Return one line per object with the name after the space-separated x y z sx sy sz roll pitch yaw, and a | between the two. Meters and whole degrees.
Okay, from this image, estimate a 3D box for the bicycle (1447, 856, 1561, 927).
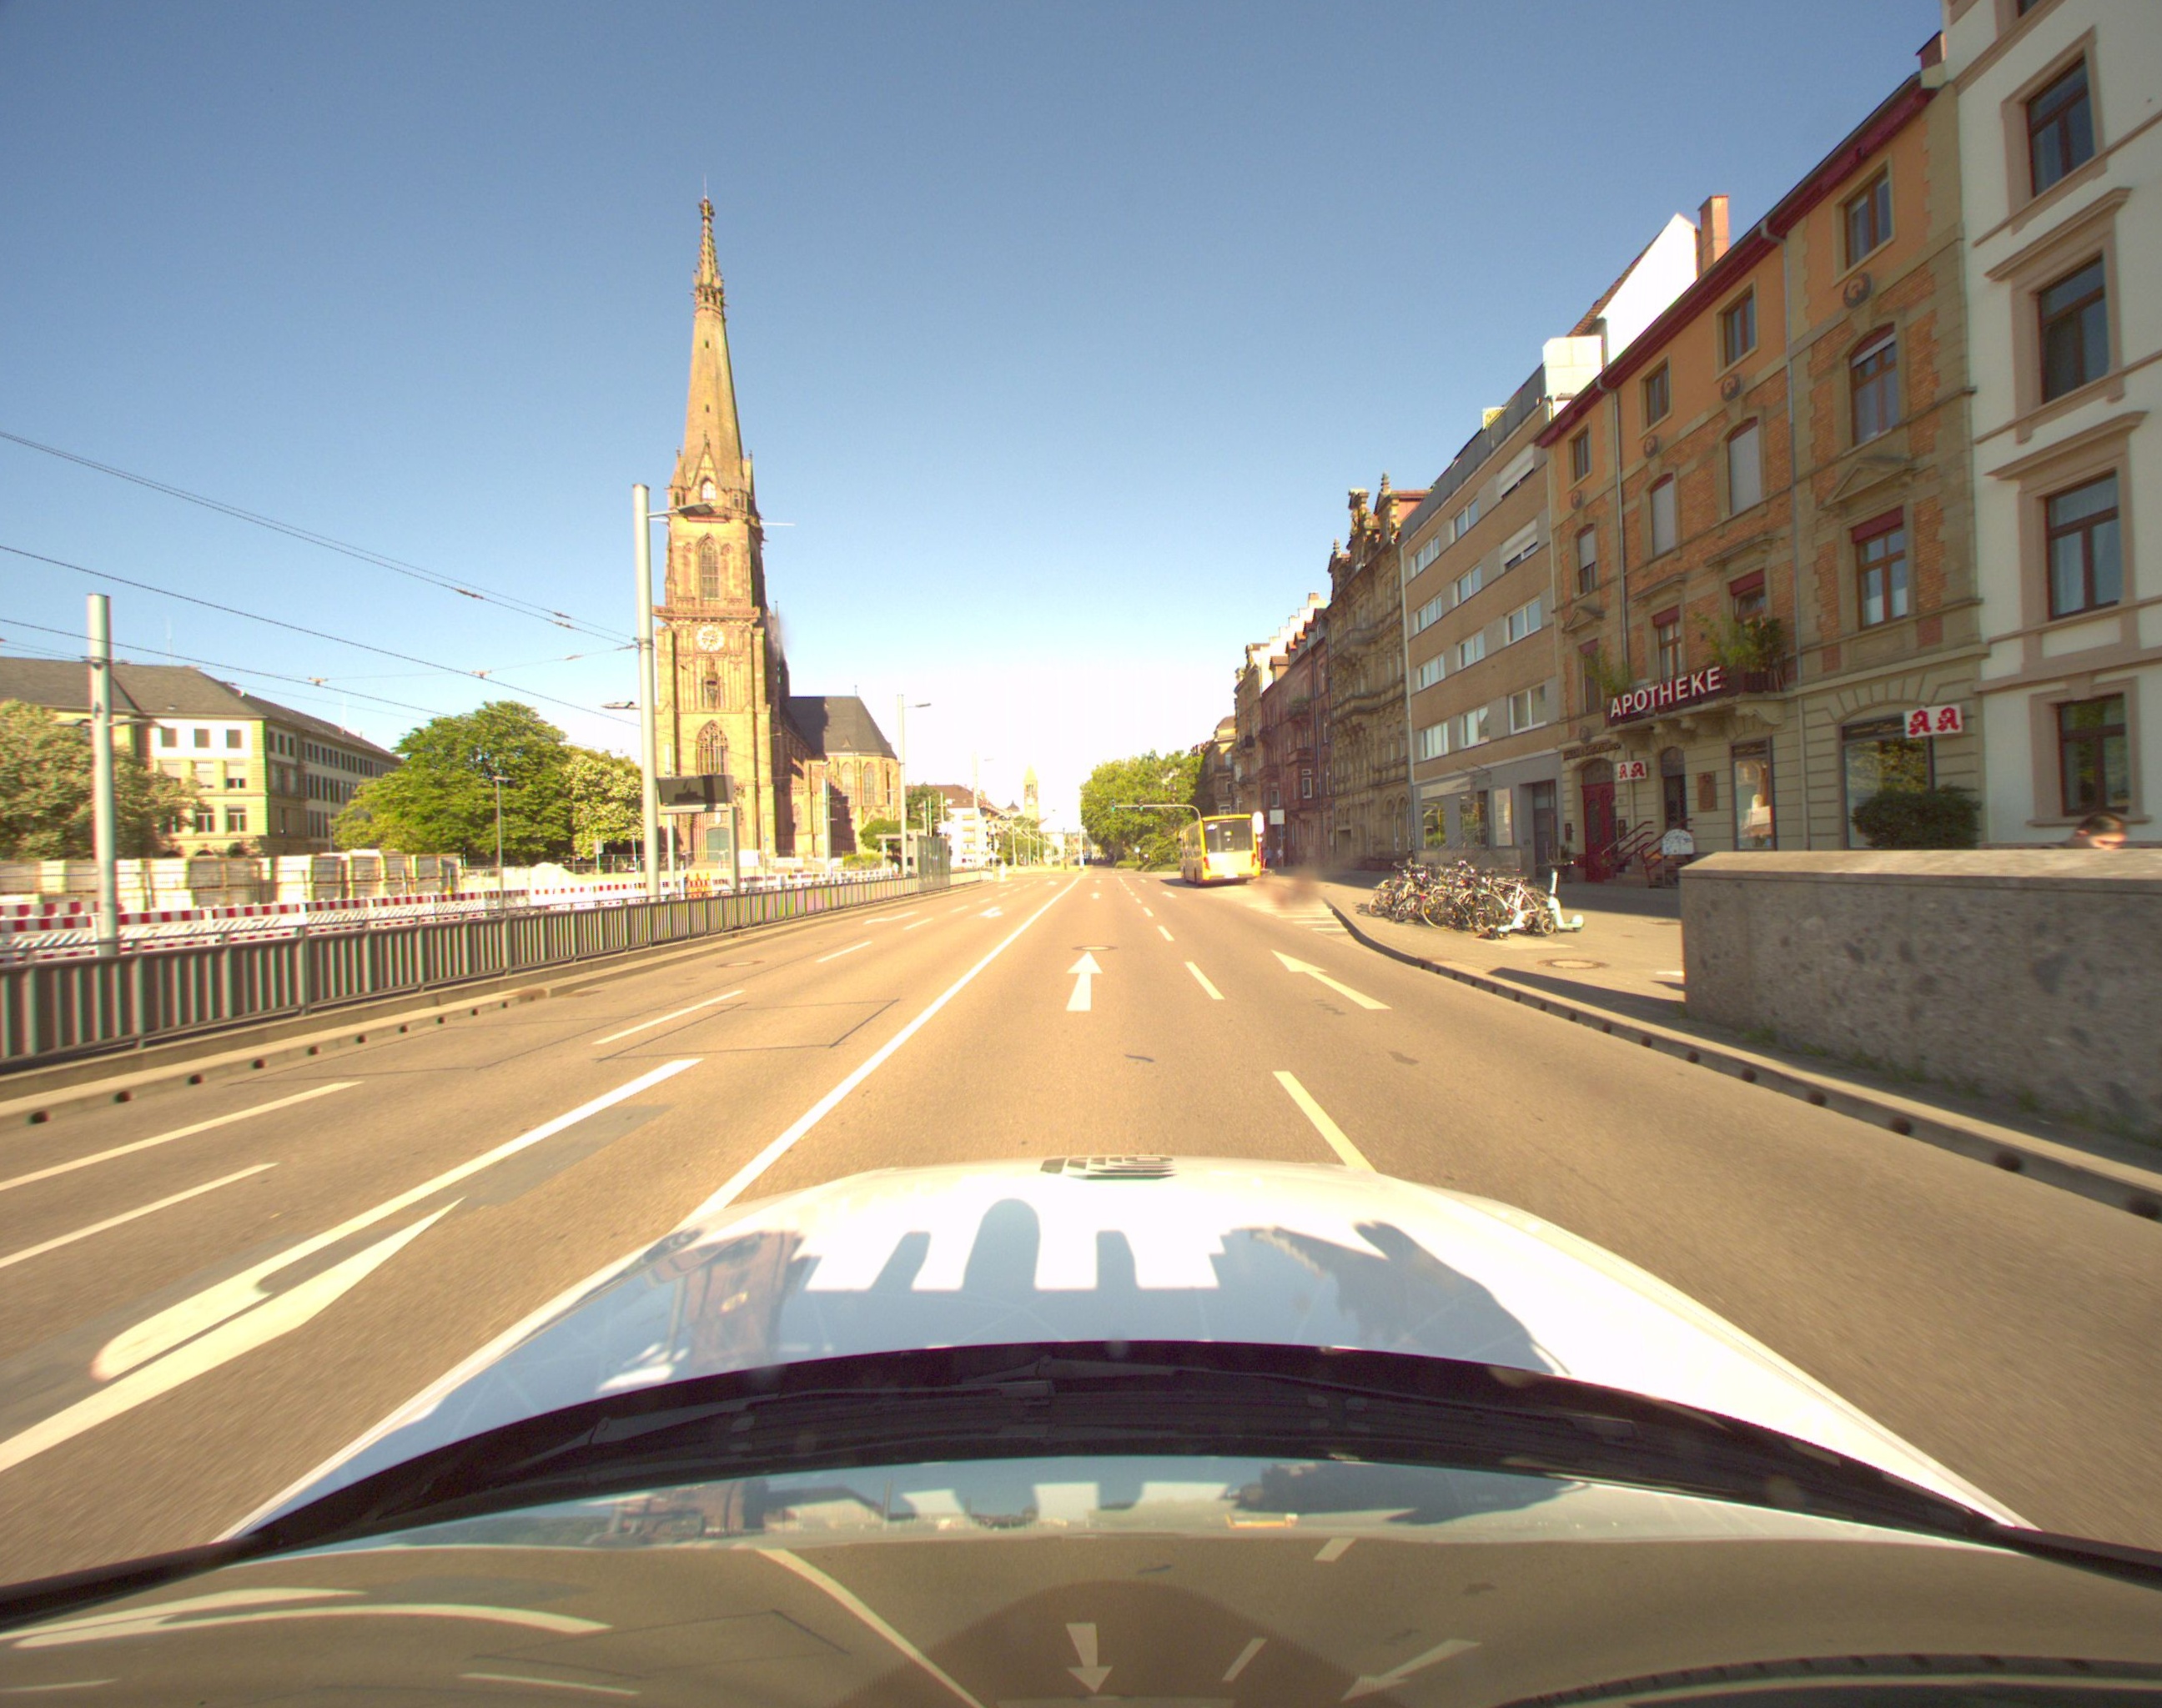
7.489 0.657 14.450 1.759 1.178 0.470 -2 0 0 | bicycle

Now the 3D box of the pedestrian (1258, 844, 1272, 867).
15.848 0.088 70.169 0.819 1.930 1.137 -2 0 1 | pedestrian

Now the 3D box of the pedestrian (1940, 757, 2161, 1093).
6.328 0.421 5.285 0.748 2.013 0.698 -3 2 1 | pedestrian

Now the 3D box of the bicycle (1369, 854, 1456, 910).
7.503 0.626 18.479 1.759 1.187 0.470 -2 0 0 | bicycle

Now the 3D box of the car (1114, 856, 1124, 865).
6.892 1.118 149.015 1.637 1.511 4.184 -3 0 2 | car

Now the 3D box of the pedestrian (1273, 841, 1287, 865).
16.469 -0.112 67.373 0.819 1.930 1.137 -2 0 1 | pedestrian

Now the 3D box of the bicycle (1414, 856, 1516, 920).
7.517 0.660 15.956 1.759 1.187 0.470 -2 0 0 | bicycle

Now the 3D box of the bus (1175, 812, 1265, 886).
6.993 -0.206 42.955 2.705 3.181 12.544 -3 0 1 | bus

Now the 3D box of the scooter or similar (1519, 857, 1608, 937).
7.801 0.672 13.174 1.211 1.216 0.637 -1 -2 -26 | scooter or similar

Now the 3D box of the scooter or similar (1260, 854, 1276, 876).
10.681 0.637 46.538 0.431 1.249 1.291 -4 -1 -8 | scooter or similar

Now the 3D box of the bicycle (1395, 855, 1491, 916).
7.537 0.645 16.979 1.759 1.187 0.470 -2 0 0 | bicycle

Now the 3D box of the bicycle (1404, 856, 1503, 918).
7.525 0.654 16.476 1.759 1.187 0.470 -2 0 0 | bicycle

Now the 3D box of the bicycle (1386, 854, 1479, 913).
7.533 0.621 17.485 1.759 1.187 0.470 -2 0 0 | bicycle

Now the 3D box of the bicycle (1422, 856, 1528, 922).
7.467 0.650 15.449 1.759 1.187 0.470 -2 0 0 | bicycle

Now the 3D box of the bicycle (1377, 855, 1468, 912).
7.528 0.643 17.976 1.785 1.187 0.470 -2 0 0 | bicycle

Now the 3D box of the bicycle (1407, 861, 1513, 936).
6.336 0.714 13.704 0.470 1.147 1.758 -2 1 -22 | bicycle

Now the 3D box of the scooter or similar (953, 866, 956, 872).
-26.057 3.091 167.609 0.400 1.261 1.231 -3 2 2 | scooter or similar

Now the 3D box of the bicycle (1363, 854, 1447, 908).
7.533 0.623 18.974 1.759 1.187 0.470 -2 0 0 | bicycle

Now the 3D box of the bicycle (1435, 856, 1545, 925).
7.490 0.655 14.949 1.759 1.187 0.470 -2 0 0 | bicycle

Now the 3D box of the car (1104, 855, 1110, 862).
8.258 1.303 258.619 1.986 2.107 4.001 0 -1 2 | car

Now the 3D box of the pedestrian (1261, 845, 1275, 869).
15.490 0.212 67.380 0.819 1.930 1.137 -2 0 1 | pedestrian

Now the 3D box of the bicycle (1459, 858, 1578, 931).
7.473 0.678 13.948 1.759 1.178 0.470 -2 0 0 | bicycle

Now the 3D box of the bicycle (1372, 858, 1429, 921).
6.403 0.686 16.416 0.467 1.147 1.771 -2 1 2 | bicycle
